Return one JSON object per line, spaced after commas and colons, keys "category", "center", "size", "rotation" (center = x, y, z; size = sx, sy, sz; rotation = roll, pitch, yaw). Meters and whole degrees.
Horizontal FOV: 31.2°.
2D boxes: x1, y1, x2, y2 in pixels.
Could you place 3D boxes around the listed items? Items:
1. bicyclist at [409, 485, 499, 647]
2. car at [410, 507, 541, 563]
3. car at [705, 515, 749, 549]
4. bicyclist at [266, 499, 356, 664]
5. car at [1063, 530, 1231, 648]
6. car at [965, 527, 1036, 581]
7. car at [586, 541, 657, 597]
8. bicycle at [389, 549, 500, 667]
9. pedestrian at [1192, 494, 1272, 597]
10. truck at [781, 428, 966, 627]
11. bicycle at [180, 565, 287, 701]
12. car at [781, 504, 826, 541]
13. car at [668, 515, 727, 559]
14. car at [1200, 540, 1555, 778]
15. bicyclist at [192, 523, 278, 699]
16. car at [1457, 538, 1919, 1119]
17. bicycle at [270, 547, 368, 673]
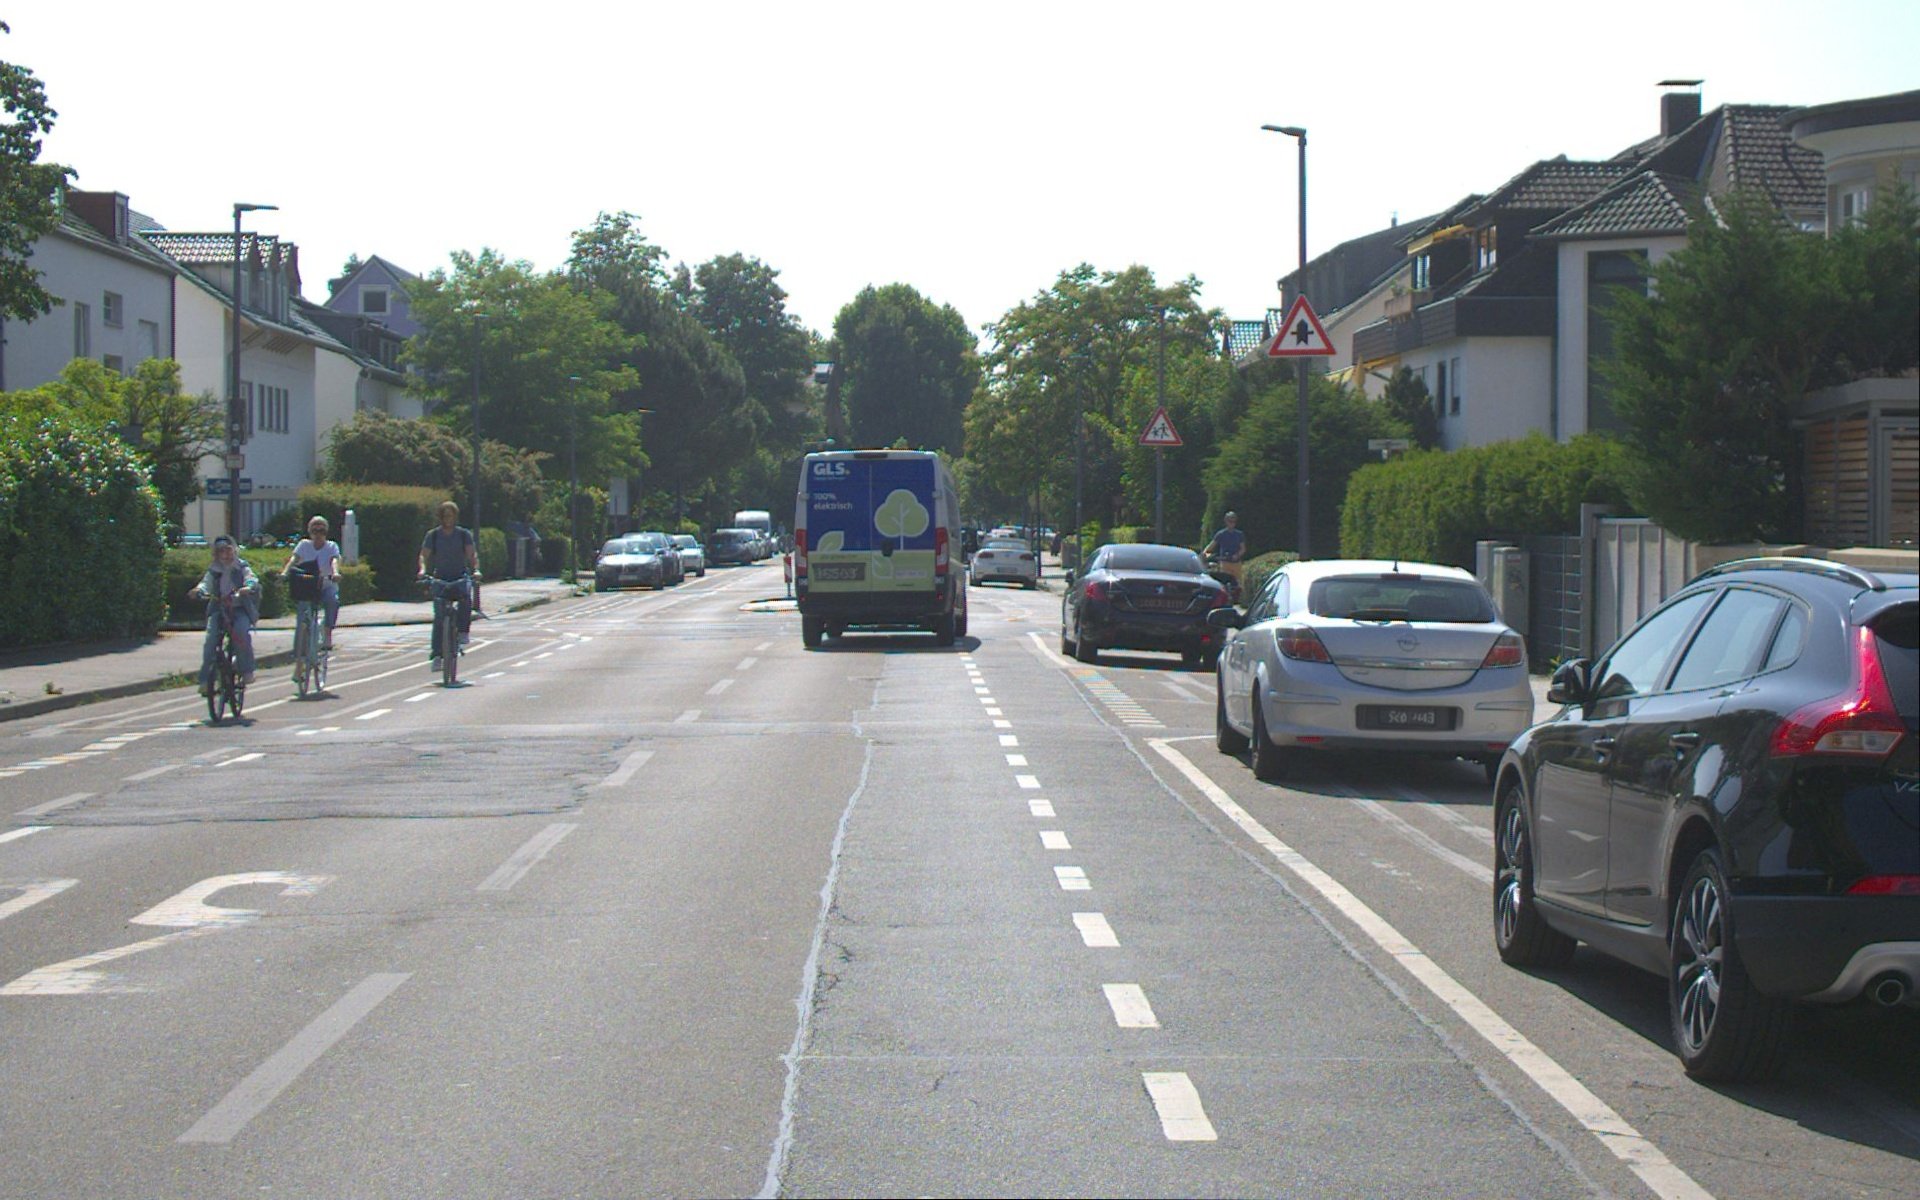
{"category": "bicyclist", "center": [-5.333, -0.365, 36.271], "size": [0.749, 1.662, 1.022], "rotation": [-2, 1, -1]}
{"category": "car", "center": [-15.705, -2.114, 111.656], "size": [3.987, 1.753, 2.000], "rotation": [1, 2, -1]}
{"category": "car", "center": [-10.238, -3.015, 151.279], "size": [1.780, 1.455, 4.087], "rotation": [-1, 1, -2]}
{"category": "bicyclist", "center": [-6.379, -0.185, 33.799], "size": [0.676, 1.575, 0.859], "rotation": [-2, 1, -1]}
{"category": "car", "center": [2.221, -0.172, 41.861], "size": [1.736, 1.324, 4.260], "rotation": [0, 2, -1]}
{"category": "car", "center": [1.119, -1.324, 96.883], "size": [1.740, 1.397, 4.074], "rotation": [2, 2, -2]}
{"category": "car", "center": [-9.165, -0.858, 93.396], "size": [1.785, 1.435, 4.156], "rotation": [-1, 1, -4]}
{"category": "bicycle", "center": [-5.362, 0.059, 35.895], "size": [0.782, 1.162, 2.420], "rotation": [-2, 1, -1]}
{"category": "pedestrian", "center": [4.961, -1.000, 62.831], "size": [0.899, 1.866, 1.189], "rotation": [0, 1, -34]}
{"category": "truck", "center": [-1.117, -0.976, 46.786], "size": [2.272, 2.562, 4.392], "rotation": [0, 1, 2]}
{"category": "bicycle", "center": [-6.139, 0.267, 29.112], "size": [0.600, 1.101, 1.346], "rotation": [-2, 1, -1]}
{"category": "car", "center": [-7.375, -3.658, 162.463], "size": [1.915, 1.661, 4.506], "rotation": [-1, 1, 0]}
{"category": "car", "center": [-8.897, -2.157, 116.752], "size": [1.785, 1.435, 4.001], "rotation": [-1, 1, -2]}
{"category": "car", "center": [2.645, 0.345, 22.646], "size": [1.736, 1.324, 4.076], "rotation": [3, 0, 0]}
{"category": "bicyclist", "center": [-6.155, 0.084, 29.214], "size": [0.490, 1.449, 0.964], "rotation": [-2, 1, -1]}
{"category": "car", "center": [2.829, 0.585, 10.790], "size": [1.722, 1.444, 4.169], "rotation": [4, 1, -2]}
{"category": "bicycle", "center": [-6.292, 0.077, 33.831], "size": [0.559, 1.181, 2.036], "rotation": [-2, 1, -1]}
